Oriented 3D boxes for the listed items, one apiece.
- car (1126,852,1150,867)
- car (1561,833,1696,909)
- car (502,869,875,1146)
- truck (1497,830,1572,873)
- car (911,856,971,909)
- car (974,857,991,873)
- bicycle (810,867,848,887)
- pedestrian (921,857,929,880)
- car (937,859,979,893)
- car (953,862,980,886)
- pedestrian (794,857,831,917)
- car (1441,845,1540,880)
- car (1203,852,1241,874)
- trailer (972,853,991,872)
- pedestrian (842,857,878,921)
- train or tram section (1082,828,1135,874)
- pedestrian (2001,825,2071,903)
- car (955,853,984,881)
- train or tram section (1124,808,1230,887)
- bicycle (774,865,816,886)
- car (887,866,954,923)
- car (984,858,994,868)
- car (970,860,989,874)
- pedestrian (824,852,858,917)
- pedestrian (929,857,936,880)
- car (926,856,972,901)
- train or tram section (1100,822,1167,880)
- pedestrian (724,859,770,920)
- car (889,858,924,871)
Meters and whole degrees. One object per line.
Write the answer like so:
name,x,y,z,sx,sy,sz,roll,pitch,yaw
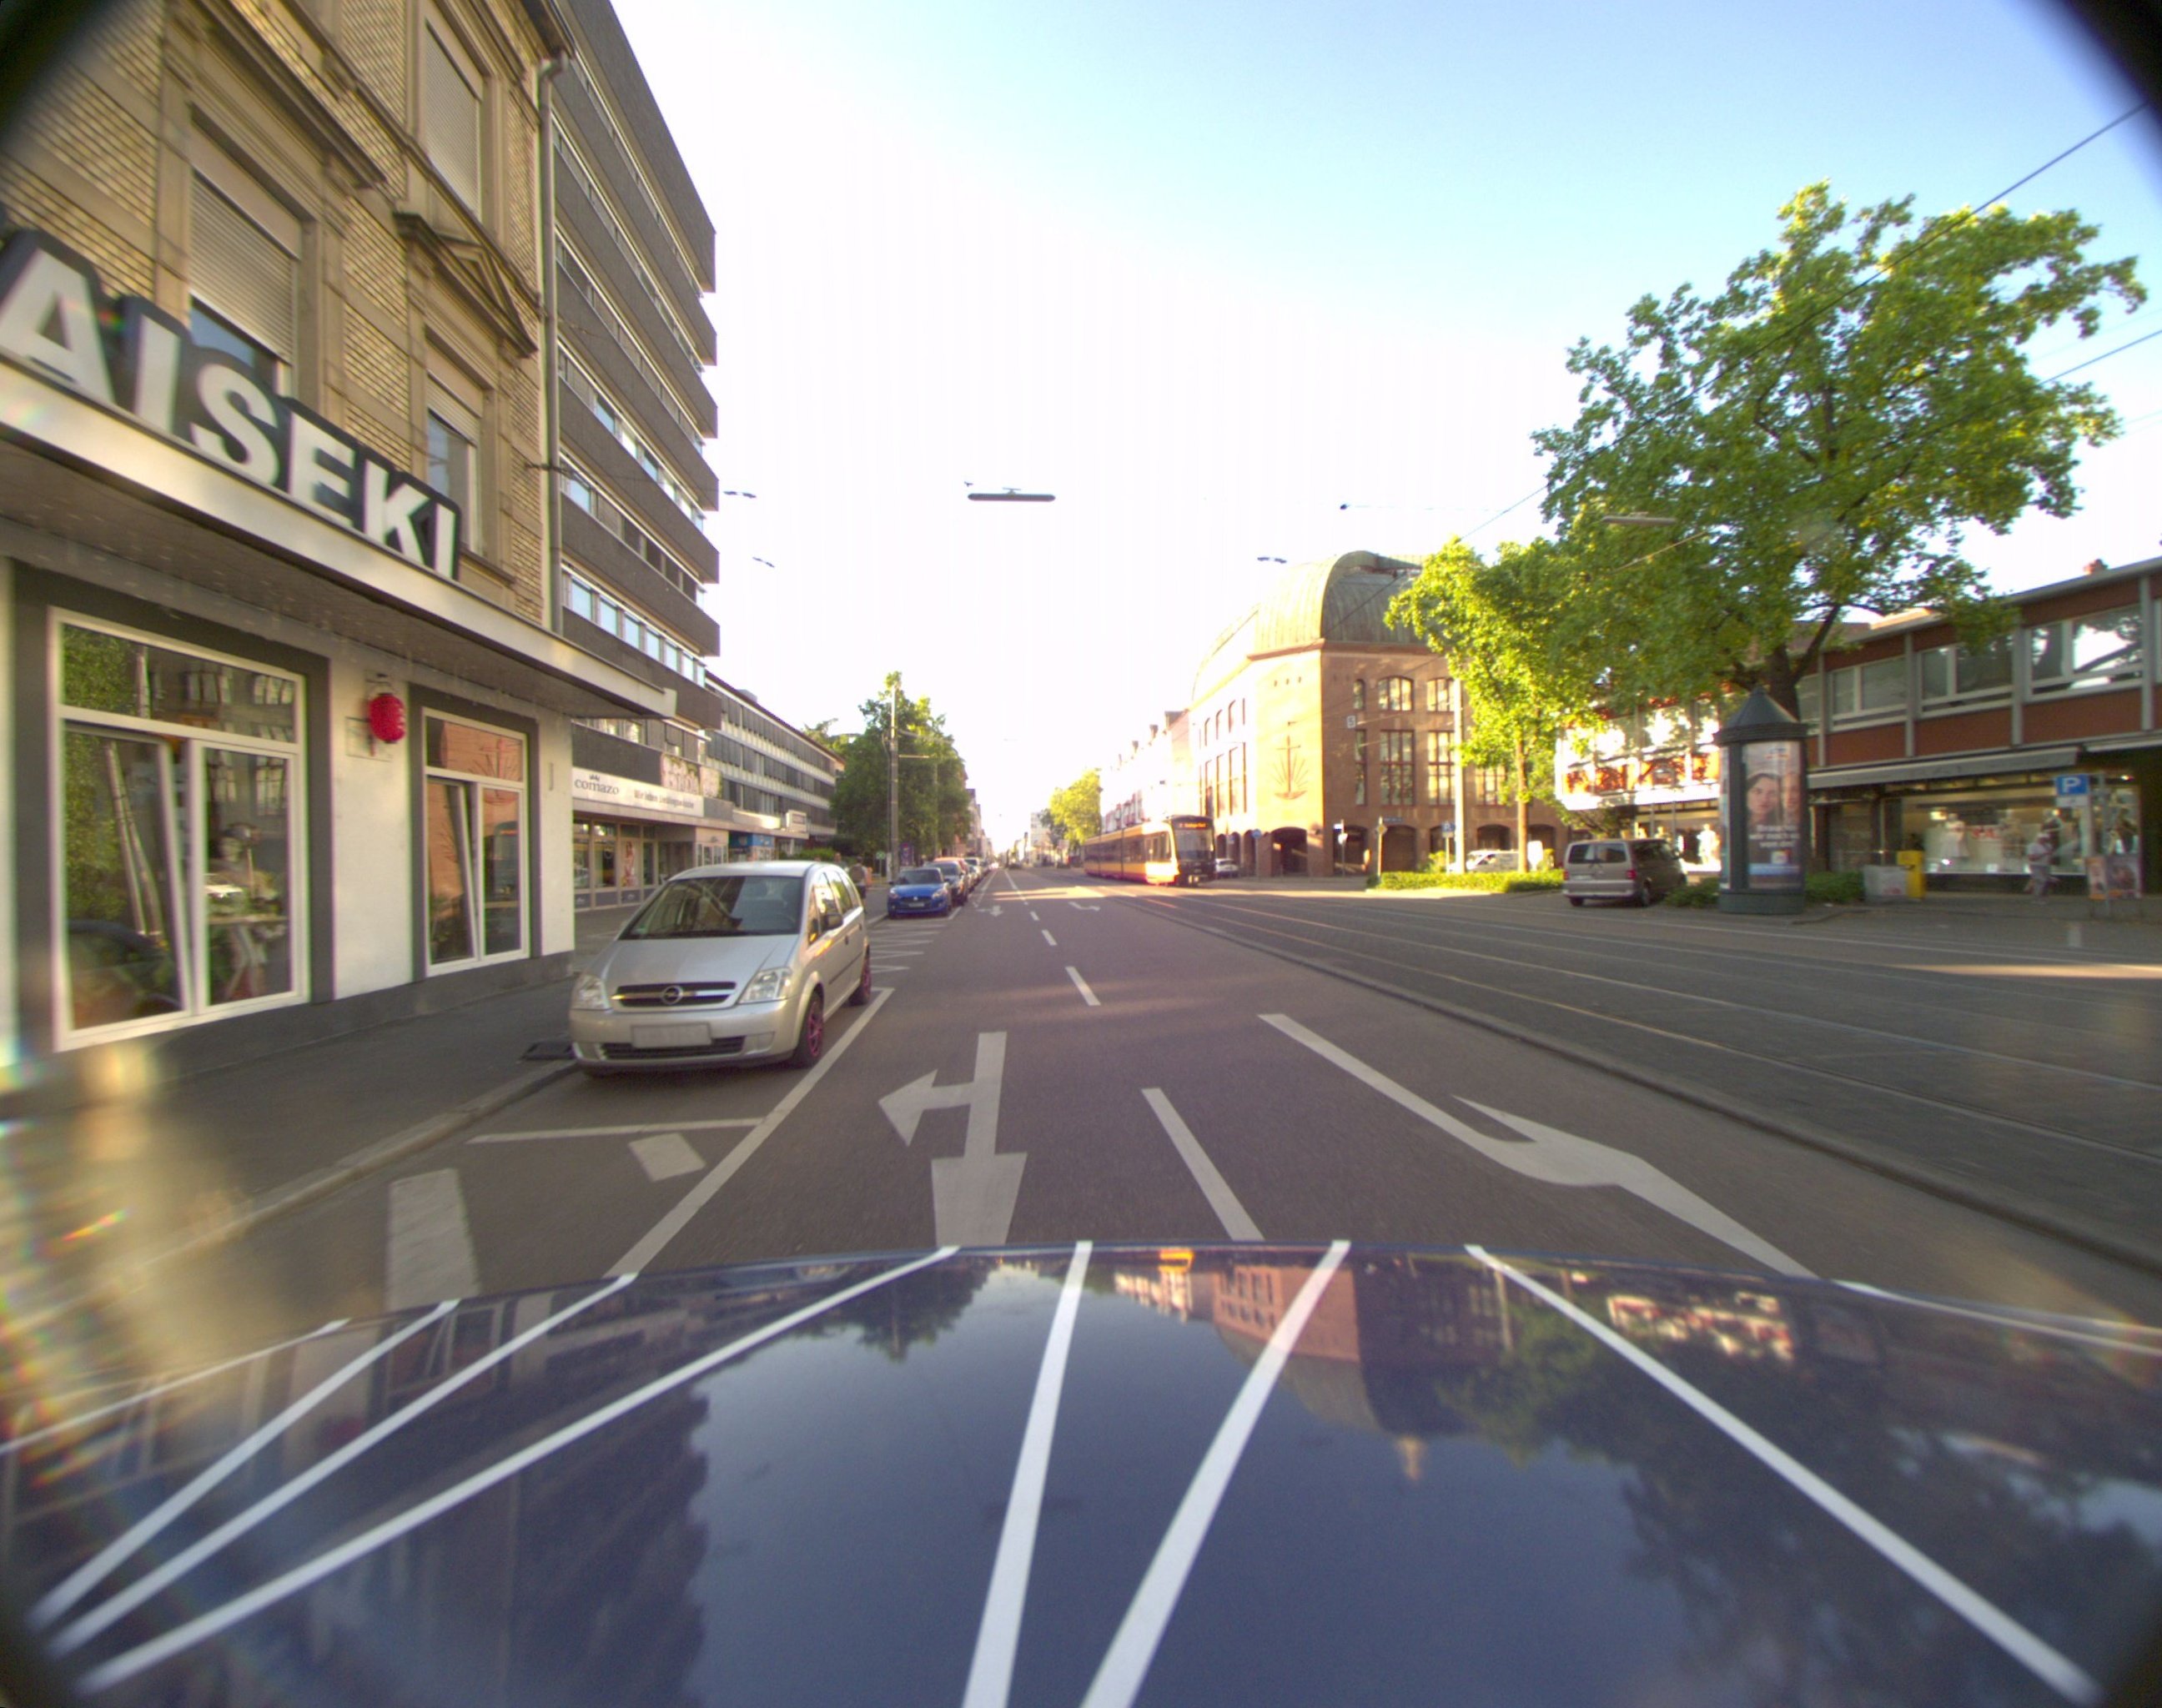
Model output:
car,6.990,0.636,93.092,1.965,1.690,4.558,-2,0,-8
car,16.420,0.428,22.681,5.130,1.918,1.849,-3,2,-37
car,-2.993,0.994,6.775,1.643,1.605,3.942,-2,0,-7
truck,30.533,-0.151,51.321,1.856,2.747,4.527,-1,0,-10
car,-5.238,1.013,28.922,1.826,1.747,4.472,-2,1,-6
car,-11.363,1.202,87.802,1.785,1.735,4.472,-2,0,-7
bicycle,-13.793,1.256,41.657,1.887,1.090,0.469,-1,1,-8
pedestrian,-11.628,1.105,56.547,0.494,1.703,0.437,1,0,-6
car,-6.424,1.118,39.930,1.792,1.586,4.324,-3,0,-5
car,-7.804,1.325,52.195,1.679,1.396,4.164,-3,1,-7
pedestrian,-8.002,0.956,22.670,0.813,1.746,1.032,0,0,-6
car,24.941,0.500,46.355,4.995,1.957,2.130,-1,3,-8
car,11.138,0.697,60.285,1.600,1.581,4.274,-3,0,-8
trailer,-12.089,1.014,92.643,1.784,2.136,5.313,-2,0,-4
pedestrian,-6.163,0.957,21.239,0.790,1.727,0.945,-1,0,-6
train or tram section,2.115,-0.243,64.181,2.767,3.530,12.460,0,0,-6
pedestrian,23.347,0.235,18.582,0.920,1.867,0.898,-1,0,-27
car,-8.522,0.975,58.212,1.883,2.009,4.902,-2,0,-6
train or tram section,4.685,-0.302,40.496,2.684,3.530,12.833,0,0,-6
bicycle,-15.262,1.154,40.553,2.021,1.089,0.637,0,0,-13
car,-4.892,1.171,23.577,1.642,1.484,3.792,-3,0,-7
car,-13.957,1.413,115.306,1.421,1.425,3.870,-2,0,-6
car,-10.868,1.346,81.536,1.785,1.420,4.210,-2,0,-6
pedestrian,-7.177,0.894,22.766,0.796,1.888,1.032,0,0,-6
pedestrian,-11.060,1.084,56.604,0.494,1.703,0.437,1,0,-6
car,-5.794,1.003,33.682,1.680,1.797,4.246,-2,0,-7
train or tram section,3.394,-0.215,52.430,2.684,3.530,11.119,0,0,-6
pedestrian,-9.529,0.997,21.736,0.903,1.703,1.032,1,0,-6
car,-22.582,1.352,98.546,4.370,1.662,1.588,2,0,-10
